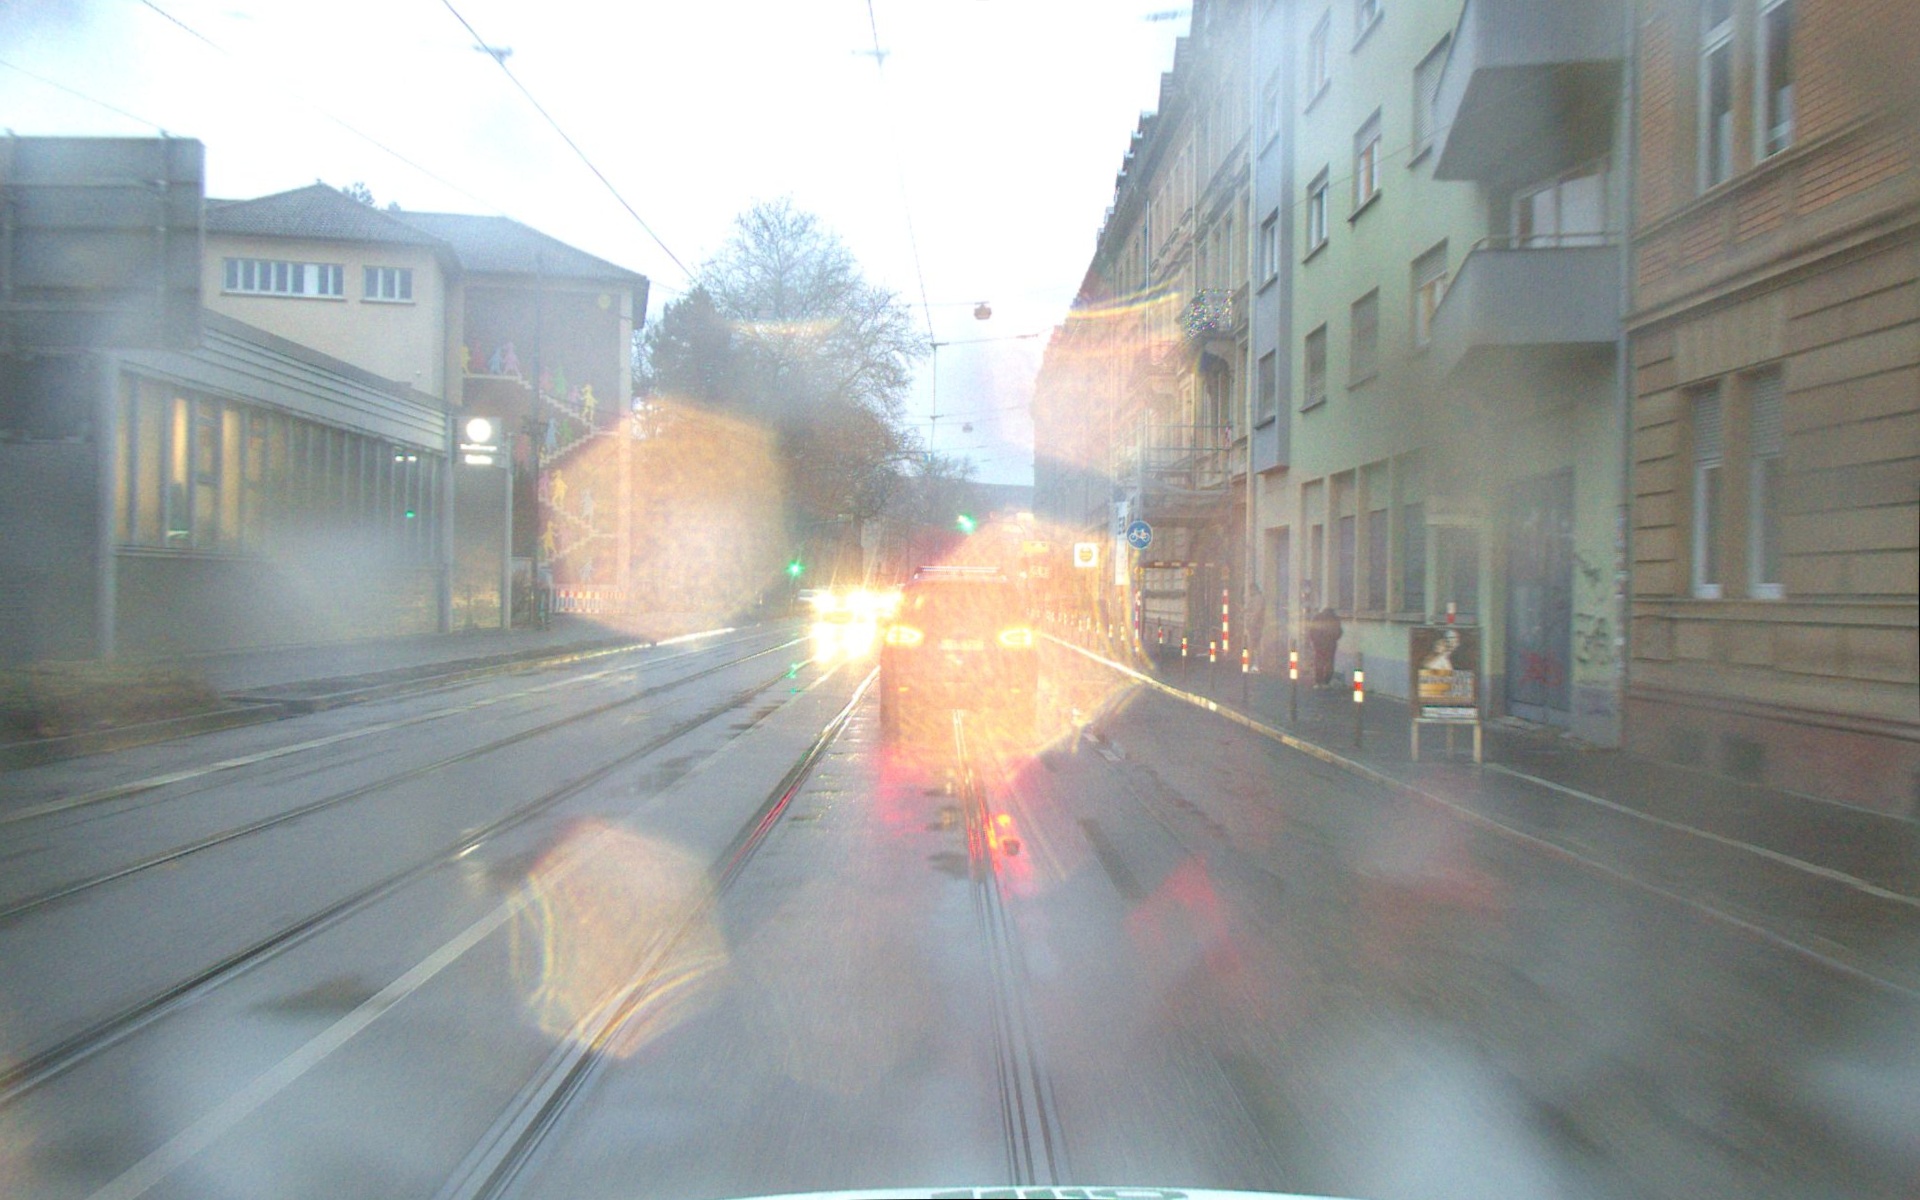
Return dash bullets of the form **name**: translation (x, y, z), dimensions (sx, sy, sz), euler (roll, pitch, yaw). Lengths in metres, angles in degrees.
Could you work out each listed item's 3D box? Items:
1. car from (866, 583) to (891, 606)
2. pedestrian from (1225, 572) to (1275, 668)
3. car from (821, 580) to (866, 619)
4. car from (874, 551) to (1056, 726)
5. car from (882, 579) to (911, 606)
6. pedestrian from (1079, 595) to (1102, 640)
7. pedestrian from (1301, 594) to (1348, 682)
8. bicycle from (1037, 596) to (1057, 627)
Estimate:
- **car**: translation (-5.510, -0.401, 111.895), dimensions (1.499, 1.507, 3.561), euler (0, 0, 0)
- **pedestrian**: translation (5.681, 0.395, 32.414), dimensions (0.592, 1.850, 0.769), euler (1, 0, -28)
- **car**: translation (-5.411, -0.044, 77.236), dimensions (1.837, 1.739, 4.759), euler (0, 0, -1)
- **car**: translation (0.123, 0.406, 19.886), dimensions (1.952, 1.874, 4.001), euler (1, 0, 2)
- **car**: translation (-5.678, -0.629, 149.475), dimensions (2.396, 2.388, 5.844), euler (0, 0, 0)
- **pedestrian**: translation (5.110, 0.662, 64.694), dimensions (0.817, 1.731, 0.954), euler (1, 0, 8)
- **pedestrian**: translation (5.923, 0.617, 26.901), dimensions (0.588, 1.401, 0.728), euler (1, 0, -1)
- **bicycle**: translation (3.457, 0.453, 65.799), dimensions (0.670, 1.176, 2.188), euler (1, 0, 0)
